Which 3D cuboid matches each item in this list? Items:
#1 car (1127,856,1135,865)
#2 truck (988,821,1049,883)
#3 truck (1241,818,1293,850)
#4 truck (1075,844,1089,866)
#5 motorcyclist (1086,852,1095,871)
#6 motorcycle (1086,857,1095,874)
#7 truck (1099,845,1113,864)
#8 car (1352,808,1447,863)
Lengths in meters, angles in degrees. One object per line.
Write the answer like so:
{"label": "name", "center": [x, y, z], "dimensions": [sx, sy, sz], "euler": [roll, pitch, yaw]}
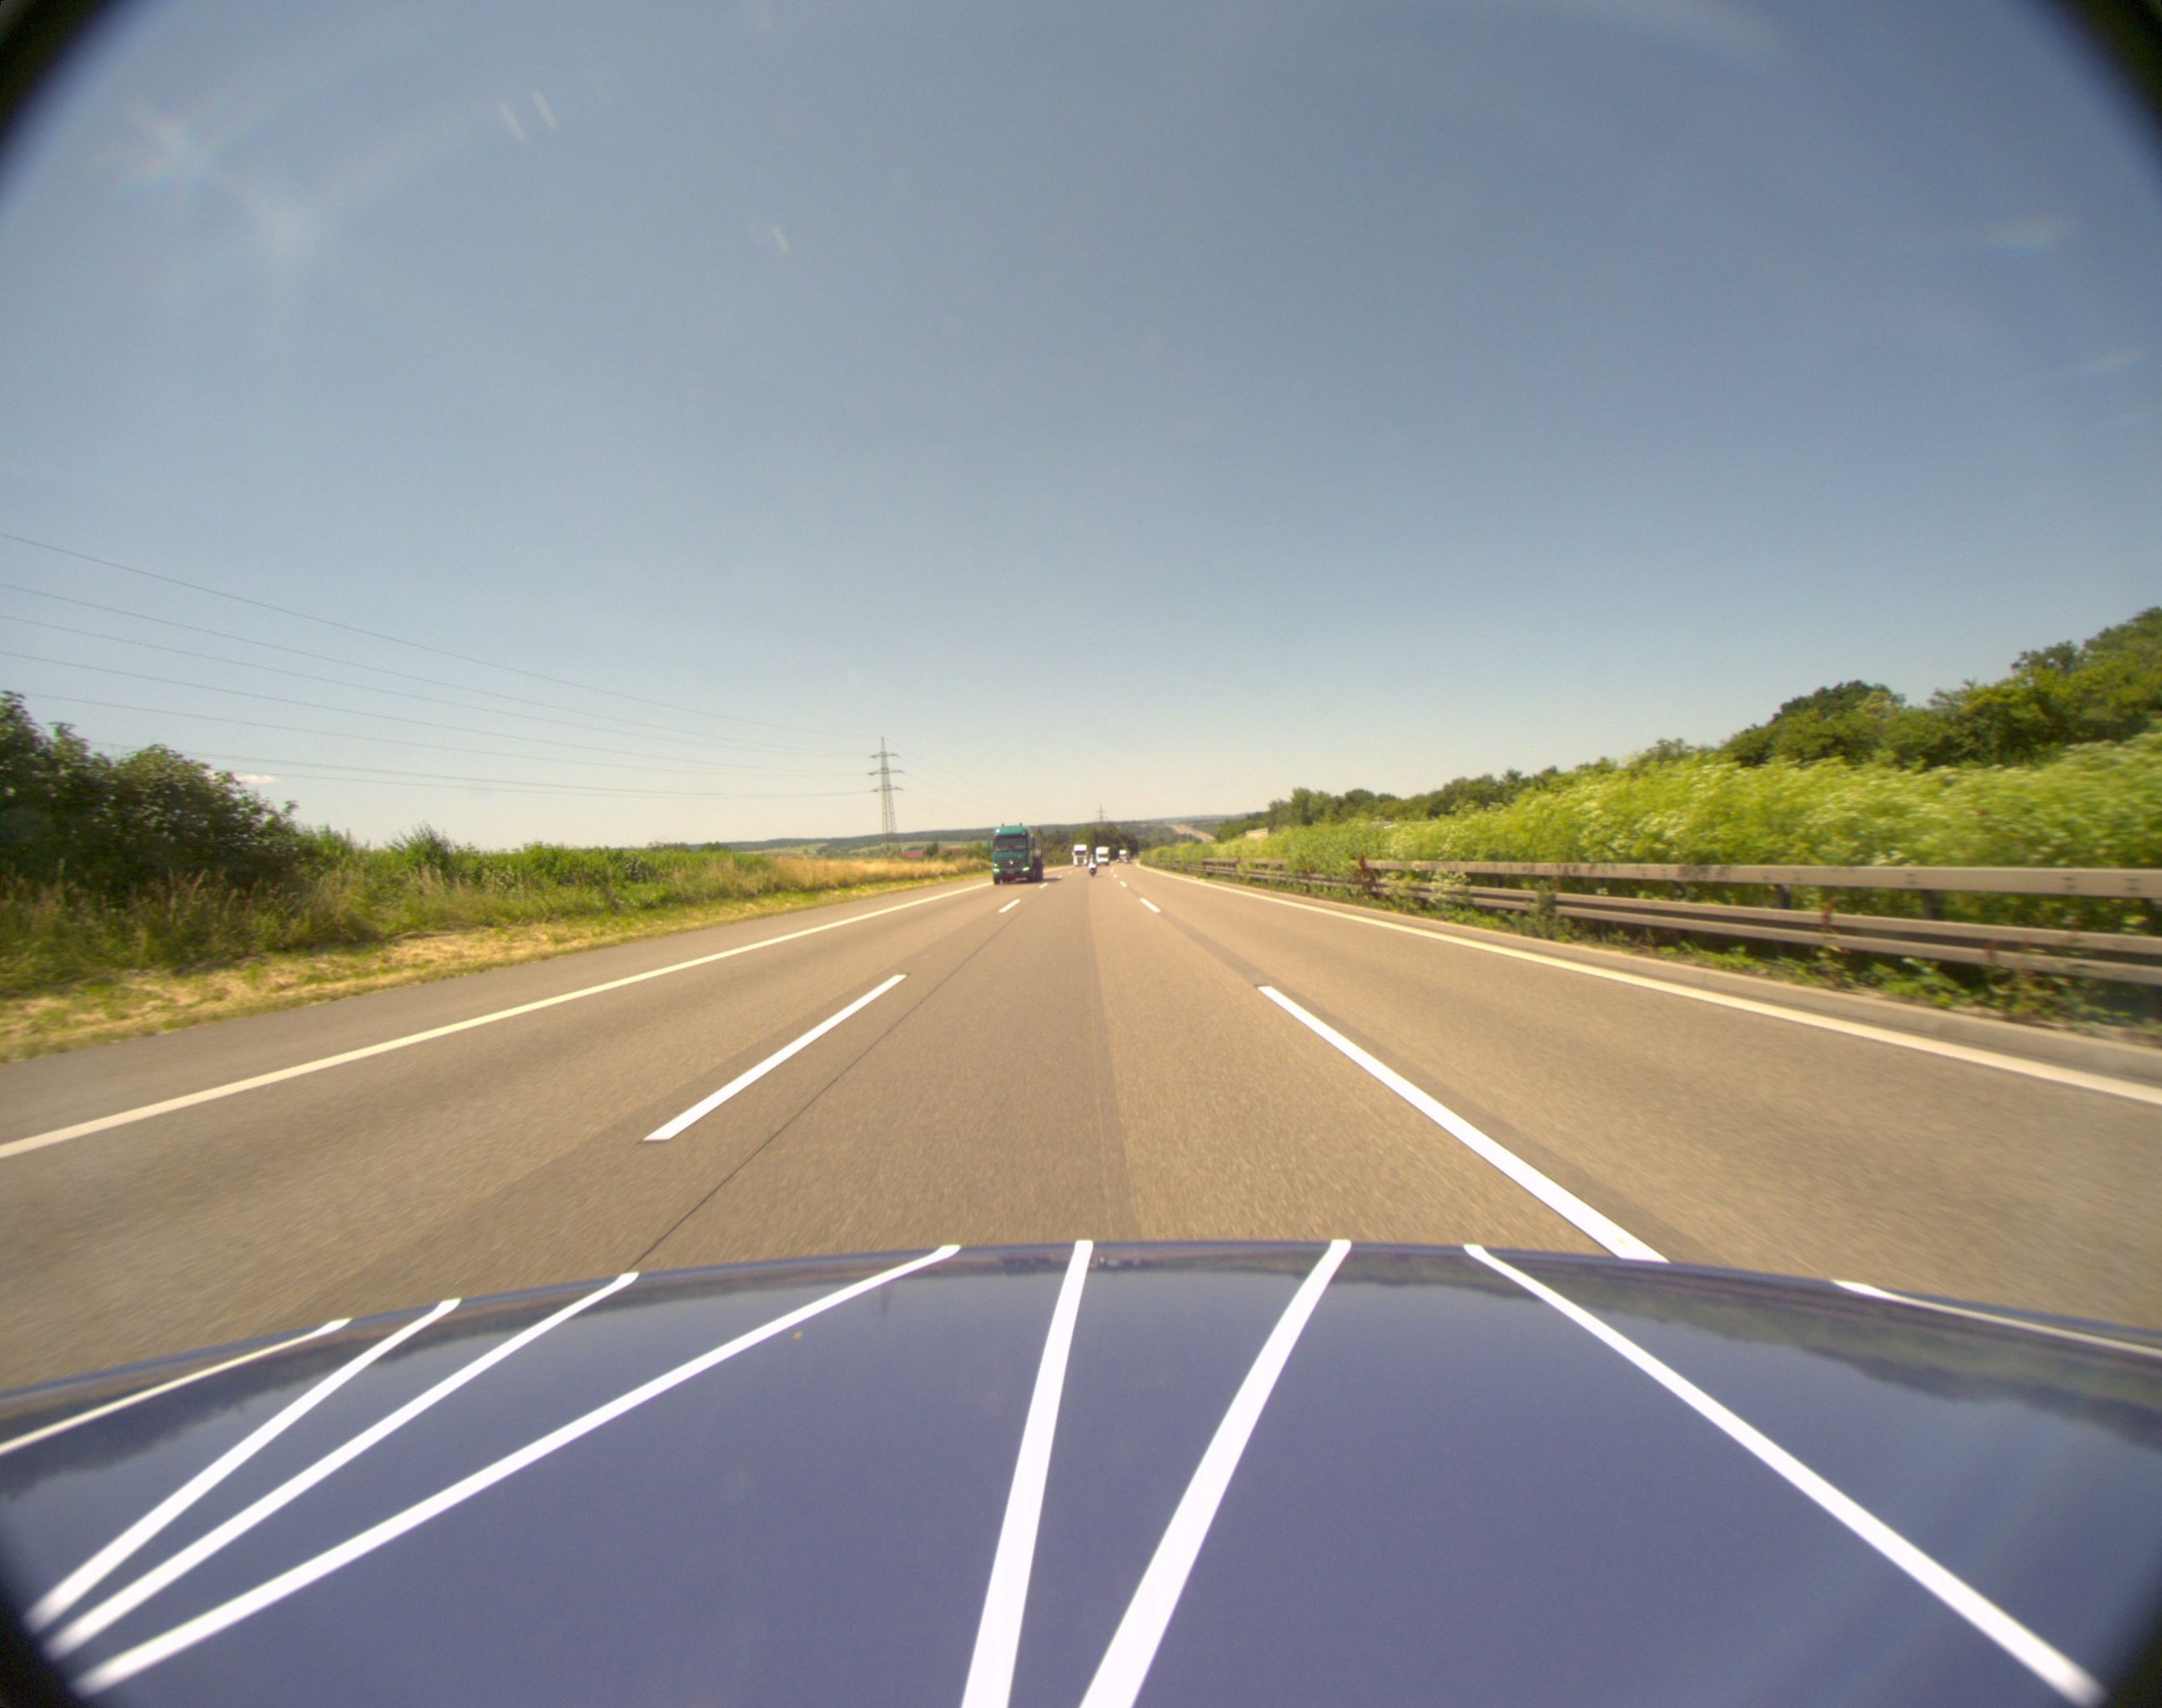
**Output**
{"label": "car", "center": [11.483, 1.561, 175.678], "dimensions": [1.704, 1.958, 4.001], "euler": [-2, 0, 3]}
{"label": "truck", "center": [-4.065, -0.147, 52.758], "dimensions": [2.872, 3.702, 12.763], "euler": [-2, 0, 1]}
{"label": "truck", "center": [22.930, -2.315, 94.989], "dimensions": [2.680, 3.497, 17.039], "euler": [-2, 0, 1]}
{"label": "truck", "center": [0.260, 0.186, 149.294], "dimensions": [2.567, 4.129, 6.249], "euler": [-2, 0, 1]}
{"label": "motorcyclist", "center": [0.746, 0.578, 58.501], "dimensions": [0.613, 1.499, 0.513], "euler": [-2, 1, 0]}
{"label": "motorcycle", "center": [0.747, 0.874, 58.509], "dimensions": [0.631, 1.279, 2.313], "euler": [-3, 0, 1]}
{"label": "truck", "center": [4.484, 0.081, 137.513], "dimensions": [2.512, 3.268, 8.107], "euler": [-1, 0, 1]}
{"label": "car", "center": [21.108, -1.150, 51.026], "dimensions": [2.800, 3.333, 8.798], "euler": [-2, 0, 2]}
